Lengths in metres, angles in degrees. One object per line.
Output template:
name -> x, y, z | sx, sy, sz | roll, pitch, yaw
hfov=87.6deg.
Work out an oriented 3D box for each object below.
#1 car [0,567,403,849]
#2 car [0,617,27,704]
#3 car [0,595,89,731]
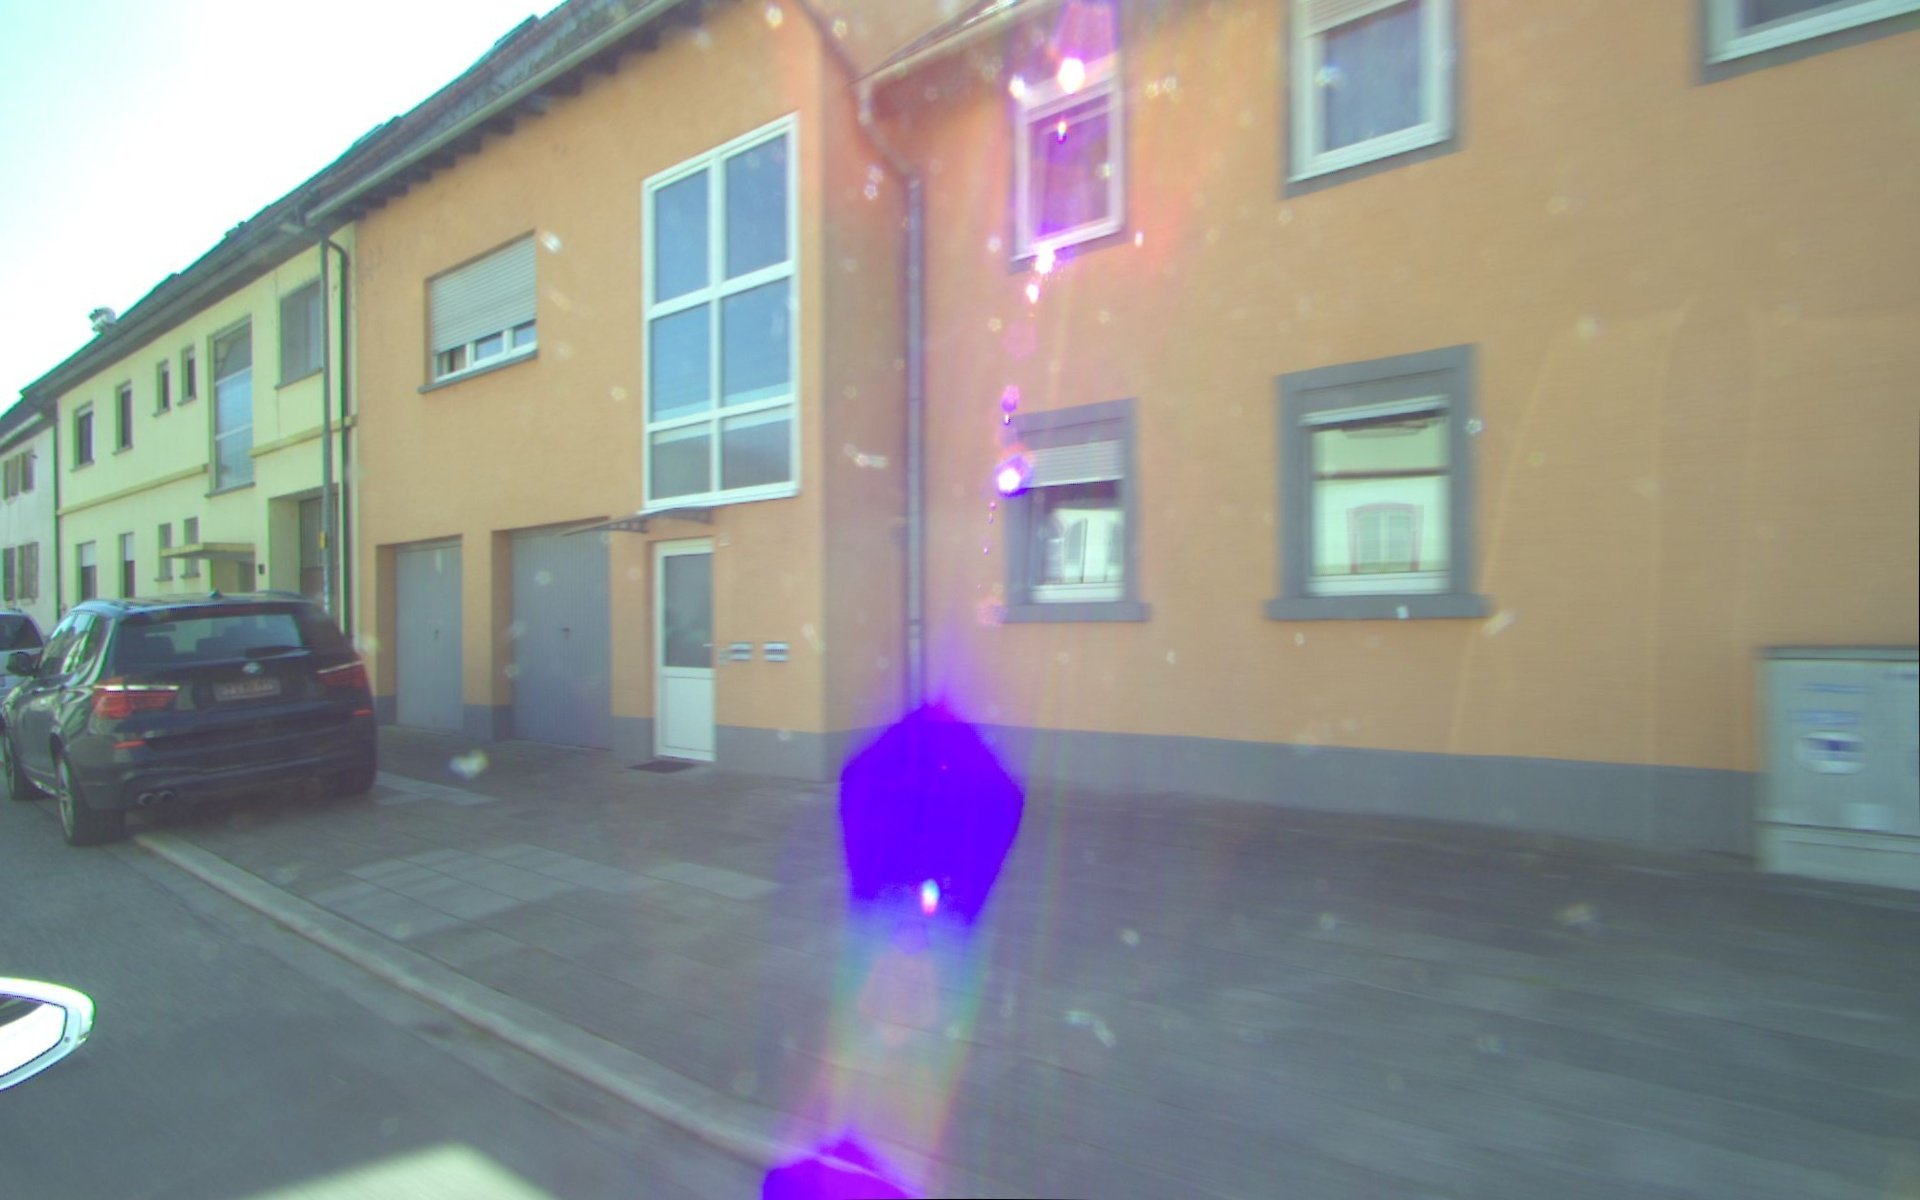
car -> -6.735, 0.704, 8.496 | 5.120, 1.725, 1.836 | -1, -1, 40
car -> -17.865, 1.060, 17.720 | 3.677, 1.457, 1.544 | -1, 0, 40
car -> -13.967, 0.842, 14.136 | 4.199, 1.750, 1.890 | -1, -2, 40
